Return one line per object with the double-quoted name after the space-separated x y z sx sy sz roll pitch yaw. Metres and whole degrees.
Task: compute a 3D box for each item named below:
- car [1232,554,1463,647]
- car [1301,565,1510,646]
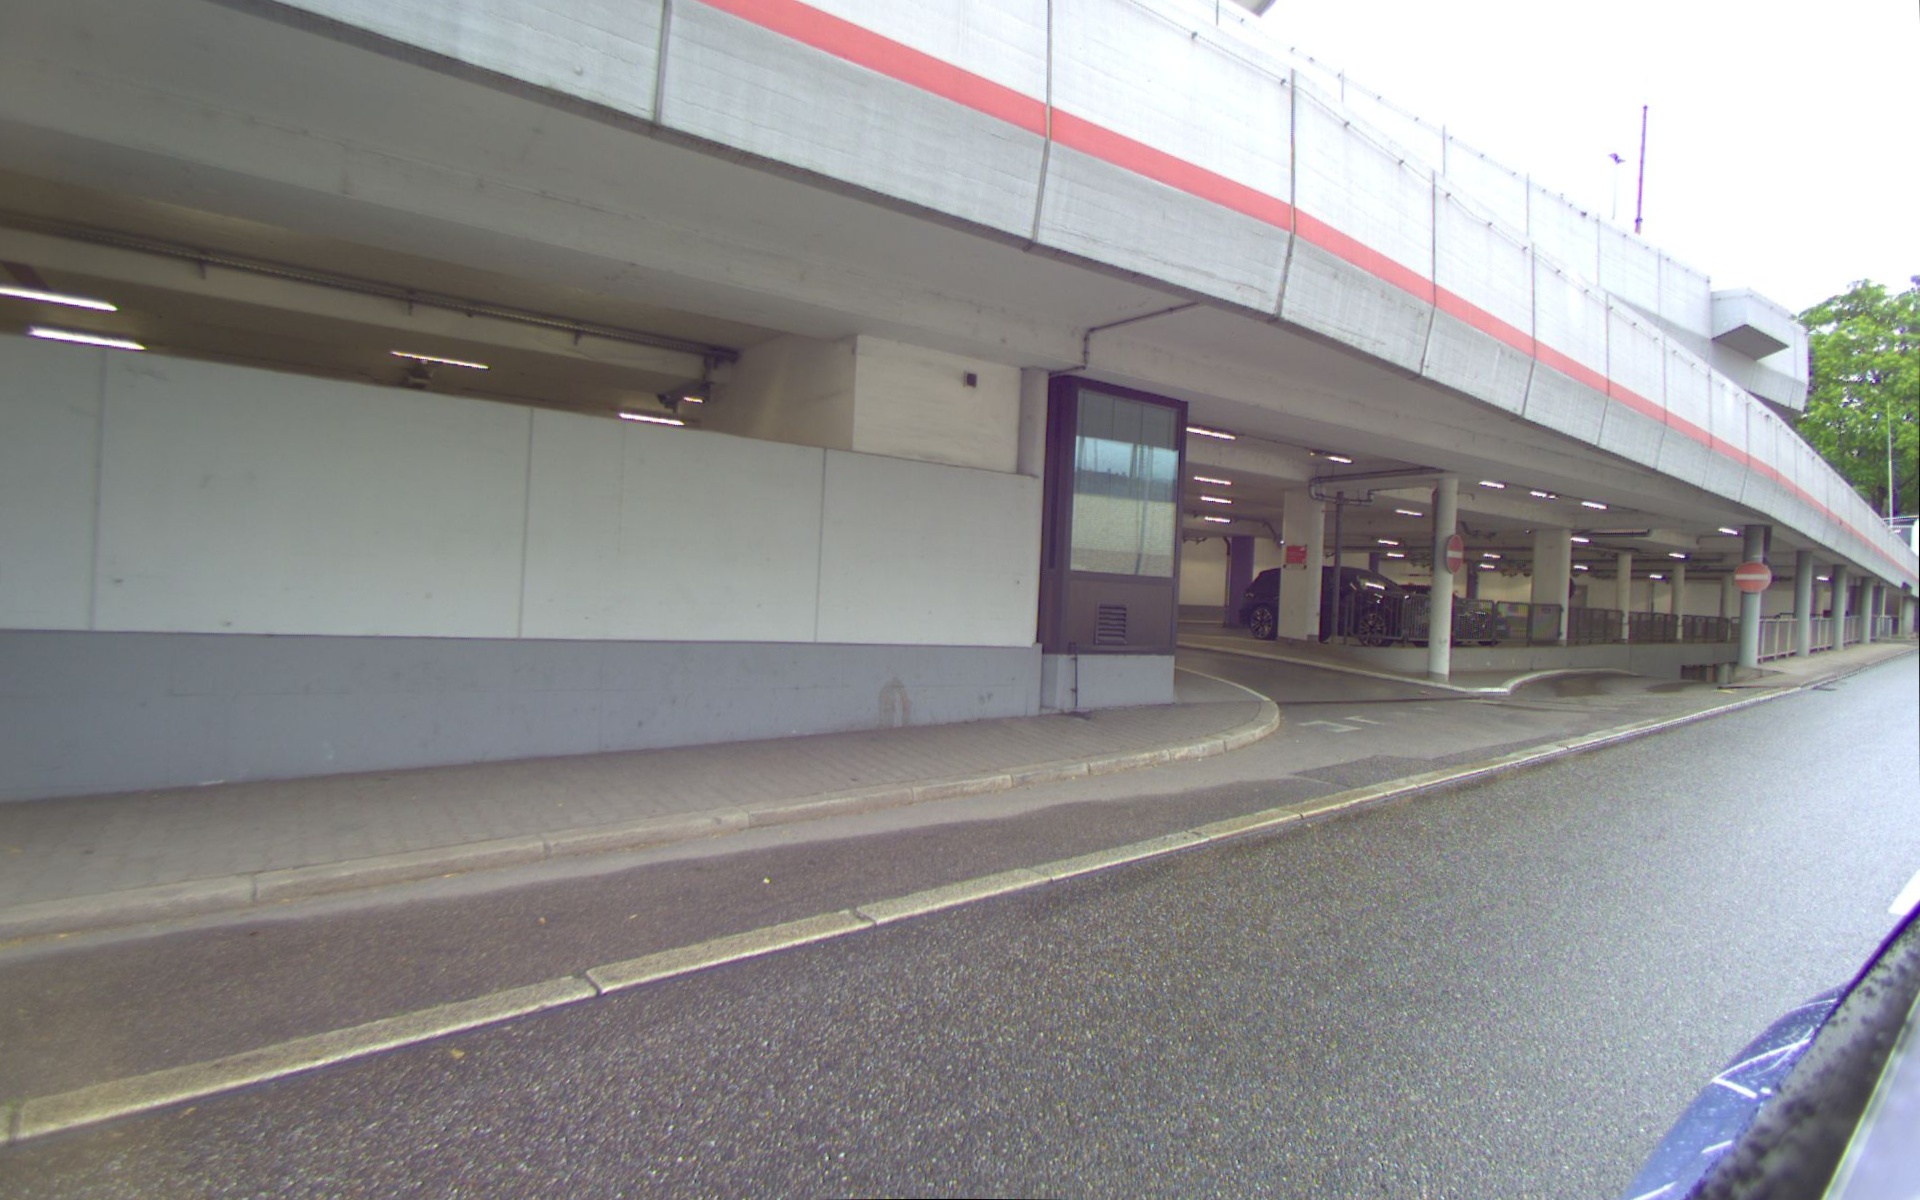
8.167 -0.011 21.717 1.960 1.682 4.261 5 -2 -31 "car"
10.766 0.097 24.758 1.960 1.682 4.261 5 -2 -31 "car"
